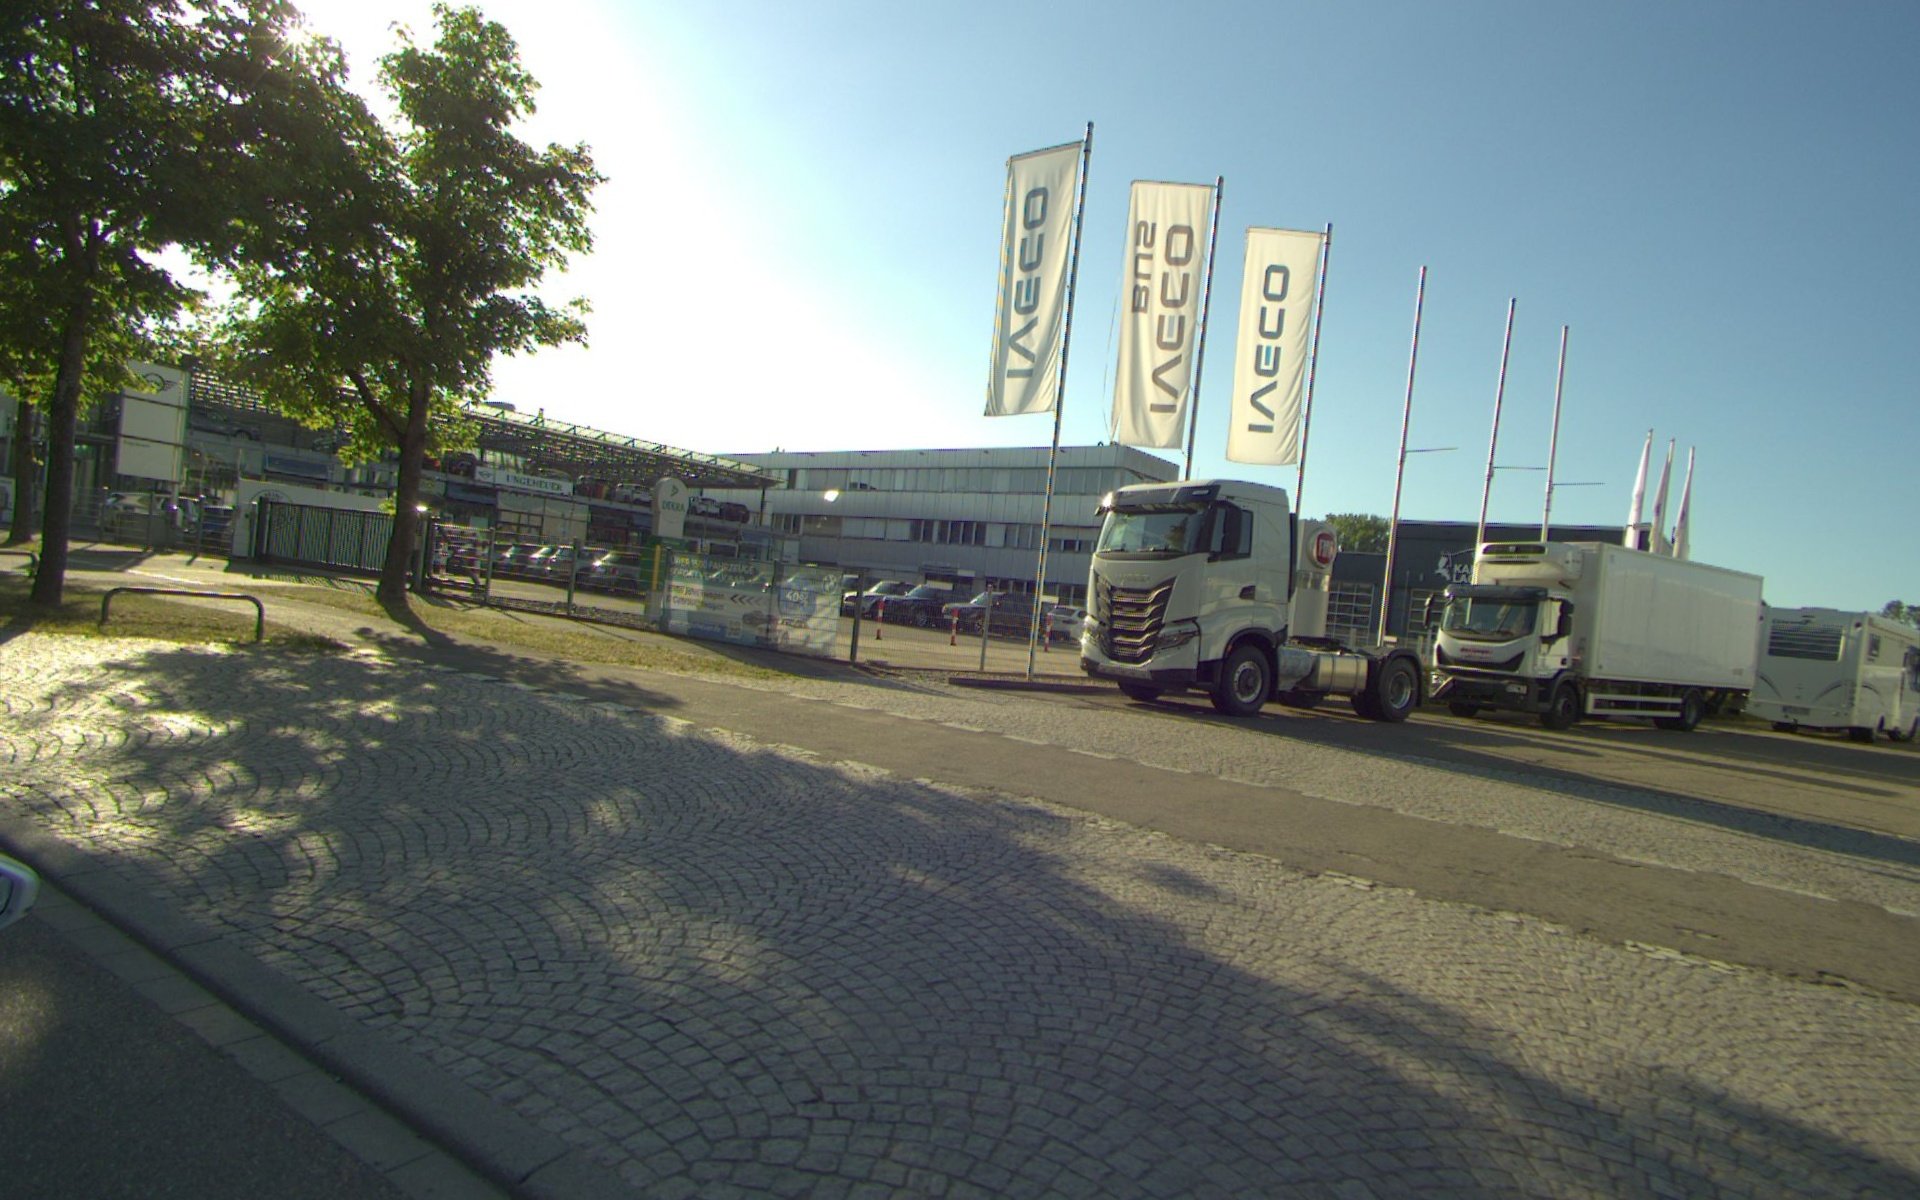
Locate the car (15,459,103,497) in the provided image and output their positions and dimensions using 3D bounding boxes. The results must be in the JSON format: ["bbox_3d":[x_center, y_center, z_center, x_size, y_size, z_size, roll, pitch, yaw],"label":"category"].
[{"bbox_3d":[-59.273,-7.998,66.210,1.761,1.685,3.987,7,-2,39],"label":"car"}]

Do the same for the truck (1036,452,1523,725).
[{"bbox_3d":[5.670,0.024,17.280,8.163,3.567,3.090,6,1,-31],"label":"truck"}]

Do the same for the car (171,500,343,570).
[{"bbox_3d":[-21.371,-1.954,30.668,3.974,1.598,1.975,6,1,-45],"label":"car"}]

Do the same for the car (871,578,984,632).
[{"bbox_3d":[-1.189,0.207,38.268,3.974,1.599,1.824,6,3,-44],"label":"car"}]

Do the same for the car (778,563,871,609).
[{"bbox_3d":[-6.517,-0.669,48.599,1.973,1.763,3.978,7,1,42],"label":"car"}]

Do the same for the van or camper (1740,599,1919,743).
[{"bbox_3d":[24.565,2.068,27.878,8.065,3.371,2.390,6,1,-37],"label":"van or camper"}]

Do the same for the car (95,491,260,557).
[{"bbox_3d":[-25.288,-2.447,32.576,3.974,1.598,1.975,6,1,-45],"label":"car"}]

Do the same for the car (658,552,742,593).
[{"bbox_3d":[-14.281,-1.503,55.412,1.973,1.763,3.978,7,1,42],"label":"car"}]

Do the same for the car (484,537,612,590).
[{"bbox_3d":[-15.829,-1.381,38.723,2.134,1.598,3.974,3,-2,45],"label":"car"}]

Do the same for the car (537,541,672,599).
[{"bbox_3d":[-12.421,-1.029,35.281,1.899,1.549,3.976,7,1,44],"label":"car"}]

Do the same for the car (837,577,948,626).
[{"bbox_3d":[-2.634,0.079,39.724,3.974,1.598,1.976,6,-2,-44],"label":"car"}]

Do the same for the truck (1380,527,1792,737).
[{"bbox_3d":[14.274,0.847,22.594,10.005,3.691,3.269,6,1,-30],"label":"truck"}]

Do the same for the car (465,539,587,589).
[{"bbox_3d":[-17.358,-1.415,40.342,1.976,1.598,3.974,3,-2,45],"label":"car"}]

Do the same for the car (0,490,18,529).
[{"bbox_3d":[-44.212,-4.286,43.742,1.963,1.686,4.607,7,-2,0],"label":"car"}]

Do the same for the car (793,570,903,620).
[{"bbox_3d":[-4.539,-0.191,41.101,3.974,1.598,1.975,6,1,-44],"label":"car"}]

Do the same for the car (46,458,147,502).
[{"bbox_3d":[-49.367,-6.864,57.572,1.761,1.685,3.987,7,-2,39],"label":"car"}]

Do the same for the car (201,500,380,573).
[{"bbox_3d":[-19.422,-1.832,29.286,3.974,1.598,1.975,6,1,-45],"label":"car"}]

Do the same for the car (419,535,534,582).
[{"bbox_3d":[-20.828,-1.758,43.397,1.976,1.598,3.974,3,-2,45],"label":"car"}]

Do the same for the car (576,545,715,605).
[{"bbox_3d":[-10.529,-0.806,33.827,1.898,1.549,3.977,7,1,43],"label":"car"}]

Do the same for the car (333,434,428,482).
[{"bbox_3d":[-31.379,-7.640,54.541,1.761,1.685,3.986,7,-2,40],"label":"car"}]

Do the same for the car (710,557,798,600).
[{"bbox_3d":[-10.621,-1.117,52.051,1.973,1.763,3.978,7,1,42],"label":"car"}]

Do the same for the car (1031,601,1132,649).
[{"bbox_3d":[4.907,1.013,40.295,3.974,1.493,1.824,6,3,-44],"label":"car"}]

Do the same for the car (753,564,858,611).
[{"bbox_3d":[-6.528,-0.514,42.764,3.974,1.598,1.882,6,-2,-44],"label":"car"}]

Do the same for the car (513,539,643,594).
[{"bbox_3d":[-14.023,-1.200,37.061,1.899,1.549,3.976,7,1,44],"label":"car"}]

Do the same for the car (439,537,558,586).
[{"bbox_3d":[-19.168,-1.567,41.869,1.976,1.598,3.974,3,-2,45],"label":"car"}]
